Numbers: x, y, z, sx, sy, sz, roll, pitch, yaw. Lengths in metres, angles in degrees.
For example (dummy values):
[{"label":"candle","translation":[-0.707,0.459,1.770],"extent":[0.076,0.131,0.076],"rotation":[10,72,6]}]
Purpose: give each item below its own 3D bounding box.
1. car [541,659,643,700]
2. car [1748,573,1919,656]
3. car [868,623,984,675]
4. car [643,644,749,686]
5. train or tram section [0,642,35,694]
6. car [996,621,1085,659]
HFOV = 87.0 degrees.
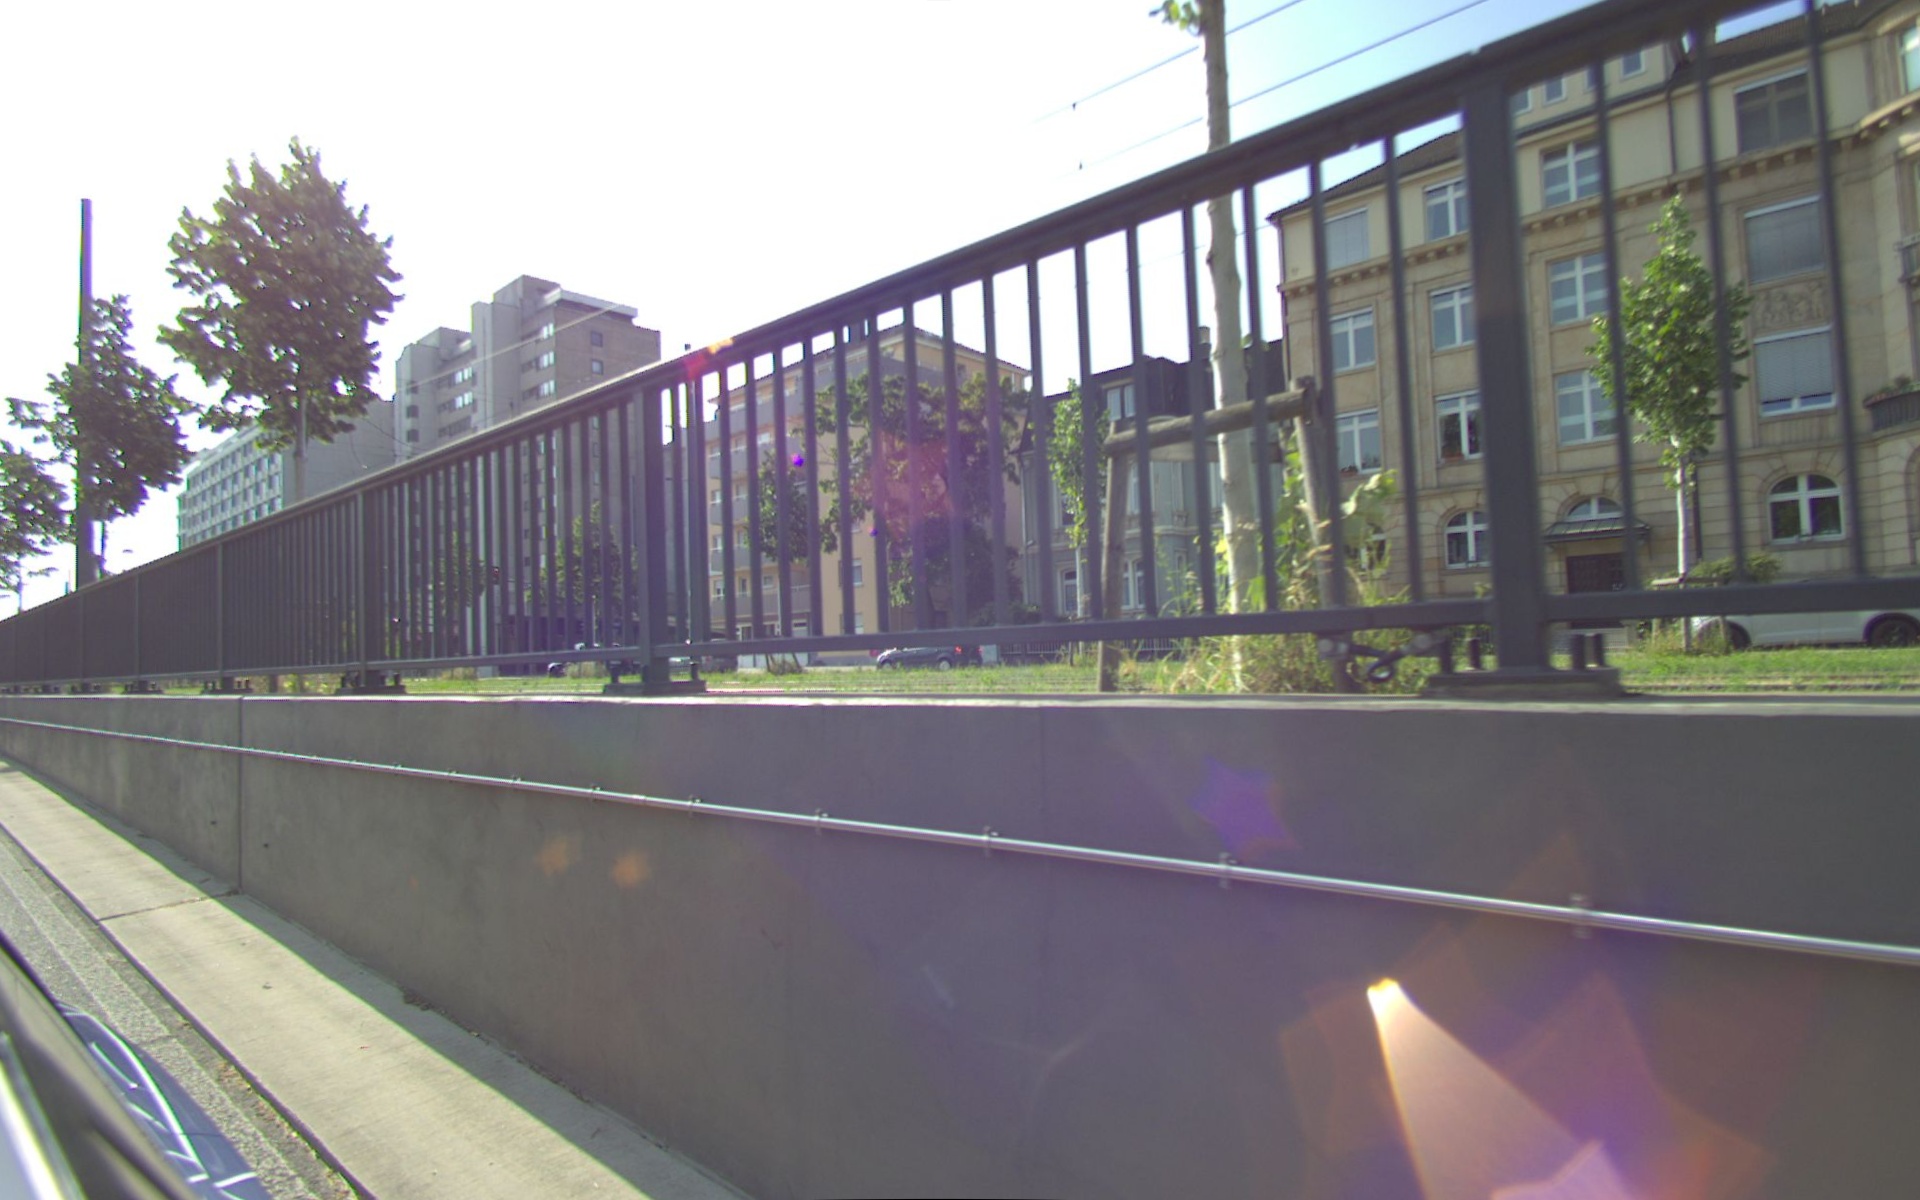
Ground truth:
[{"label":"car","translation":[-15.088,3.273,41.405],"extent":[4.394,1.524,1.973],"rotation":[-5,-4,40]},{"label":"car","translation":[17.771,0.274,19.074],"extent":[4.437,1.478,1.972],"rotation":[-3,-2,42]},{"label":"car","translation":[-1.177,1.667,33.981],"extent":[3.821,1.475,1.503],"rotation":[-7,-6,40]},{"label":"car","translation":[-11.020,2.702,42.150],"extent":[4.523,1.589,1.974],"rotation":[-5,-4,39]},{"label":"train or tram section","translation":[-66.614,4.831,70.624],"extent":[6.669,3.456,2.466],"rotation":[-5,-5,43]},{"label":"car","translation":[4.082,2.029,50.954],"extent":[2.163,1.762,4.581],"rotation":[-5,-5,40]}]
